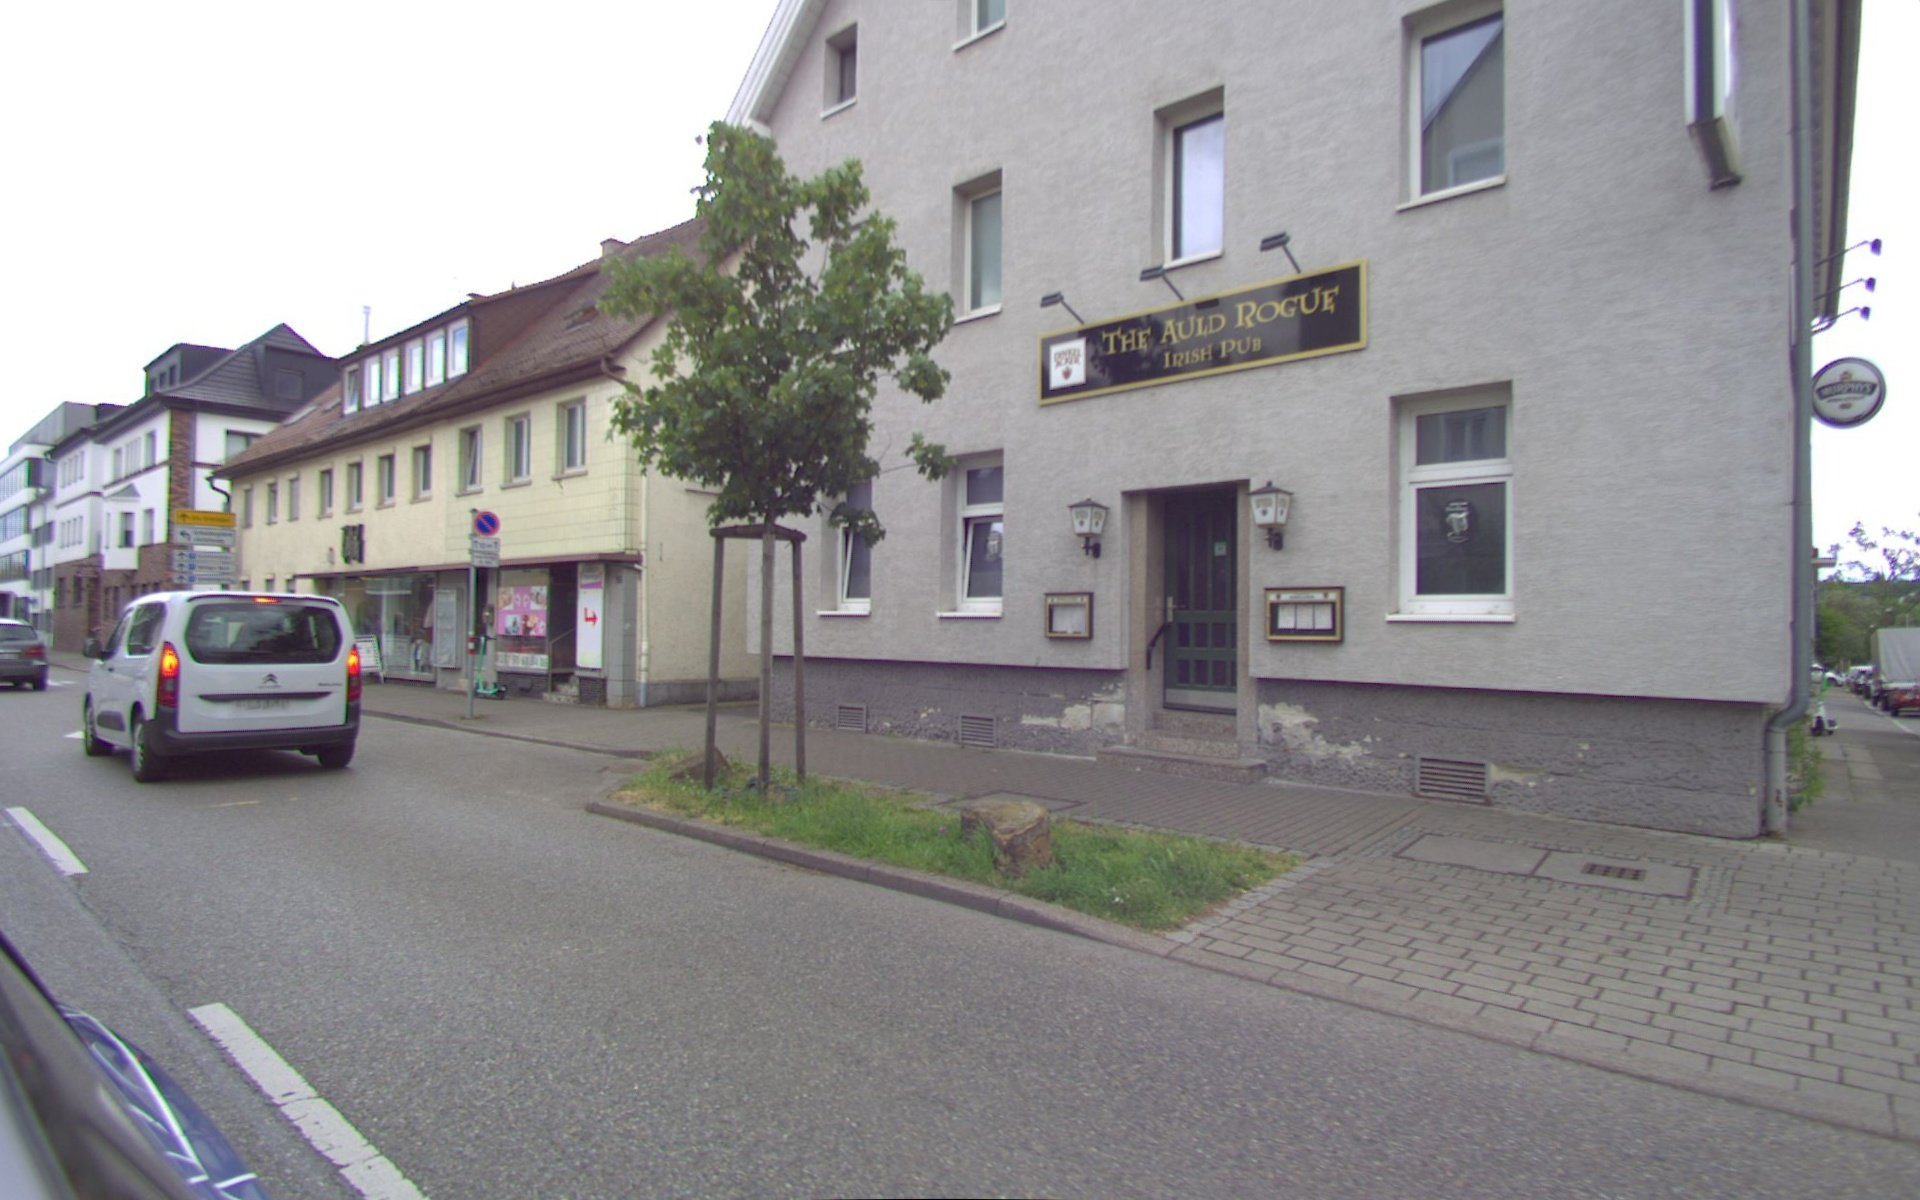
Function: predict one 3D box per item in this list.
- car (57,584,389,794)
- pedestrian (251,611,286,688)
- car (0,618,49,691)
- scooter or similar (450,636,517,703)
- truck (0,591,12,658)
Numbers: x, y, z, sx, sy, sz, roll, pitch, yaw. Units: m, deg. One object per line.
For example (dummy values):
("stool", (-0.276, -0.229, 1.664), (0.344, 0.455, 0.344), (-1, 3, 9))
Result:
("car", (-8.038, 0.828, 10.892), (4.275, 1.810, 1.972), (-1, -3, 41))
("pedestrian", (-16.102, 1.146, 23.565), (0.648, 1.750, 0.491), (-1, -3, 41))
("car", (-22.232, 1.187, 22.949), (4.072, 1.564, 1.761), (-1, -4, 41))
("scooter or similar", (-9.010, 1.286, 19.104), (1.721, 1.179, 0.522), (-1, -1, 42))
("truck", (-45.510, 1.139, 46.341), (5.960, 2.993, 2.437), (-1, -1, 40))
